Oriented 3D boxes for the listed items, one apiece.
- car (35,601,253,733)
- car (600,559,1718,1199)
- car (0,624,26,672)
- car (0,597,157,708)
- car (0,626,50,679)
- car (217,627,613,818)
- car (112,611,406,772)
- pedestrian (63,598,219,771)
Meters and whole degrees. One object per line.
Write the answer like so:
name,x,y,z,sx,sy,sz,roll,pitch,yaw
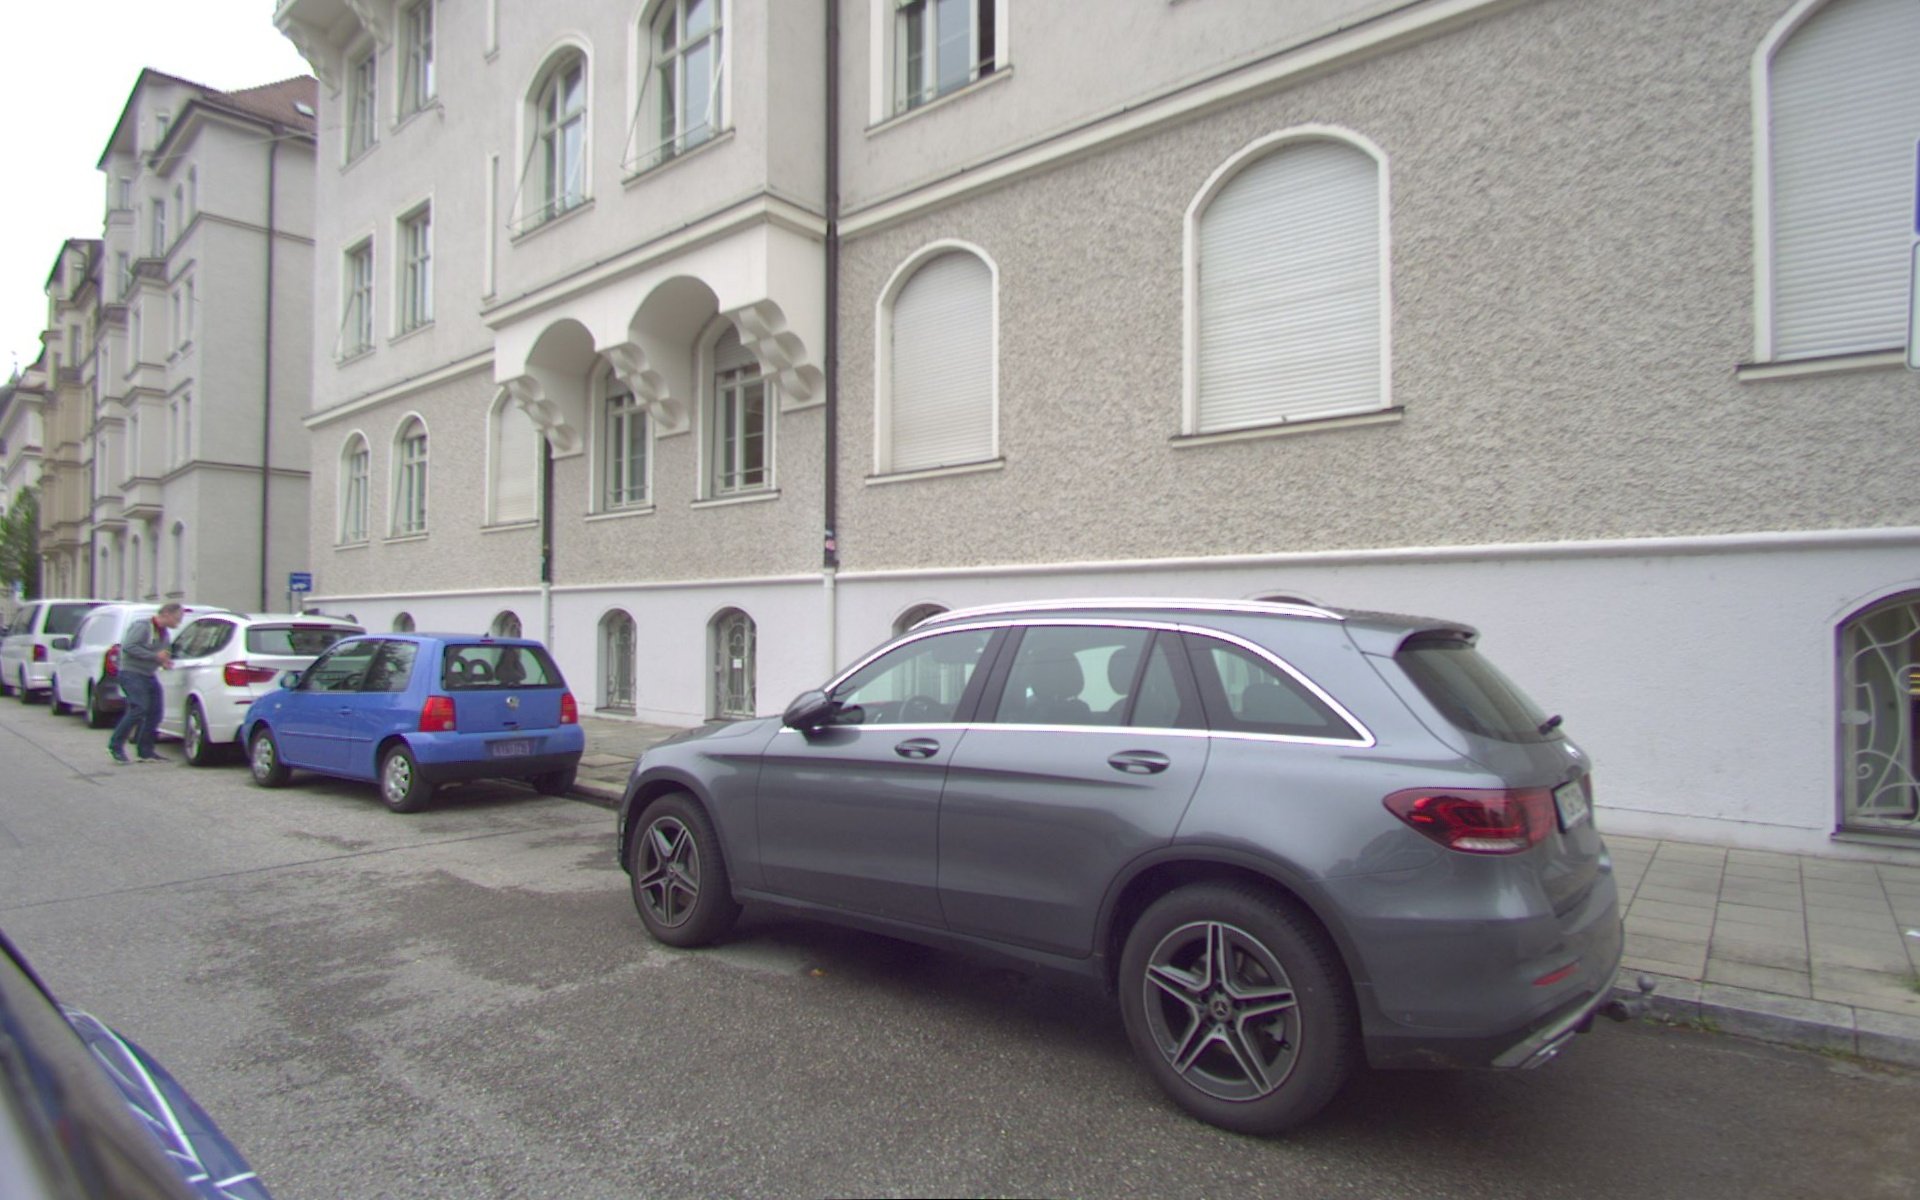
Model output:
car,-13.117,0.992,16.138,5.033,1.802,1.729,-1,-3,40
car,0.457,0.782,4.418,4.492,1.614,1.729,-1,-3,39
car,-31.627,1.514,32.537,4.376,1.475,1.837,-1,-3,41
car,-17.794,0.995,20.146,4.953,1.953,1.837,-1,-3,40
car,-27.863,1.472,29.161,4.376,1.423,1.837,-1,-4,41
car,-5.120,0.996,9.414,3.652,1.425,1.678,-1,-3,33
car,-8.600,0.984,12.266,4.492,1.614,1.729,-1,-3,39
pedestrian,-8.786,0.879,10.893,0.953,1.769,0.874,0,-2,7
